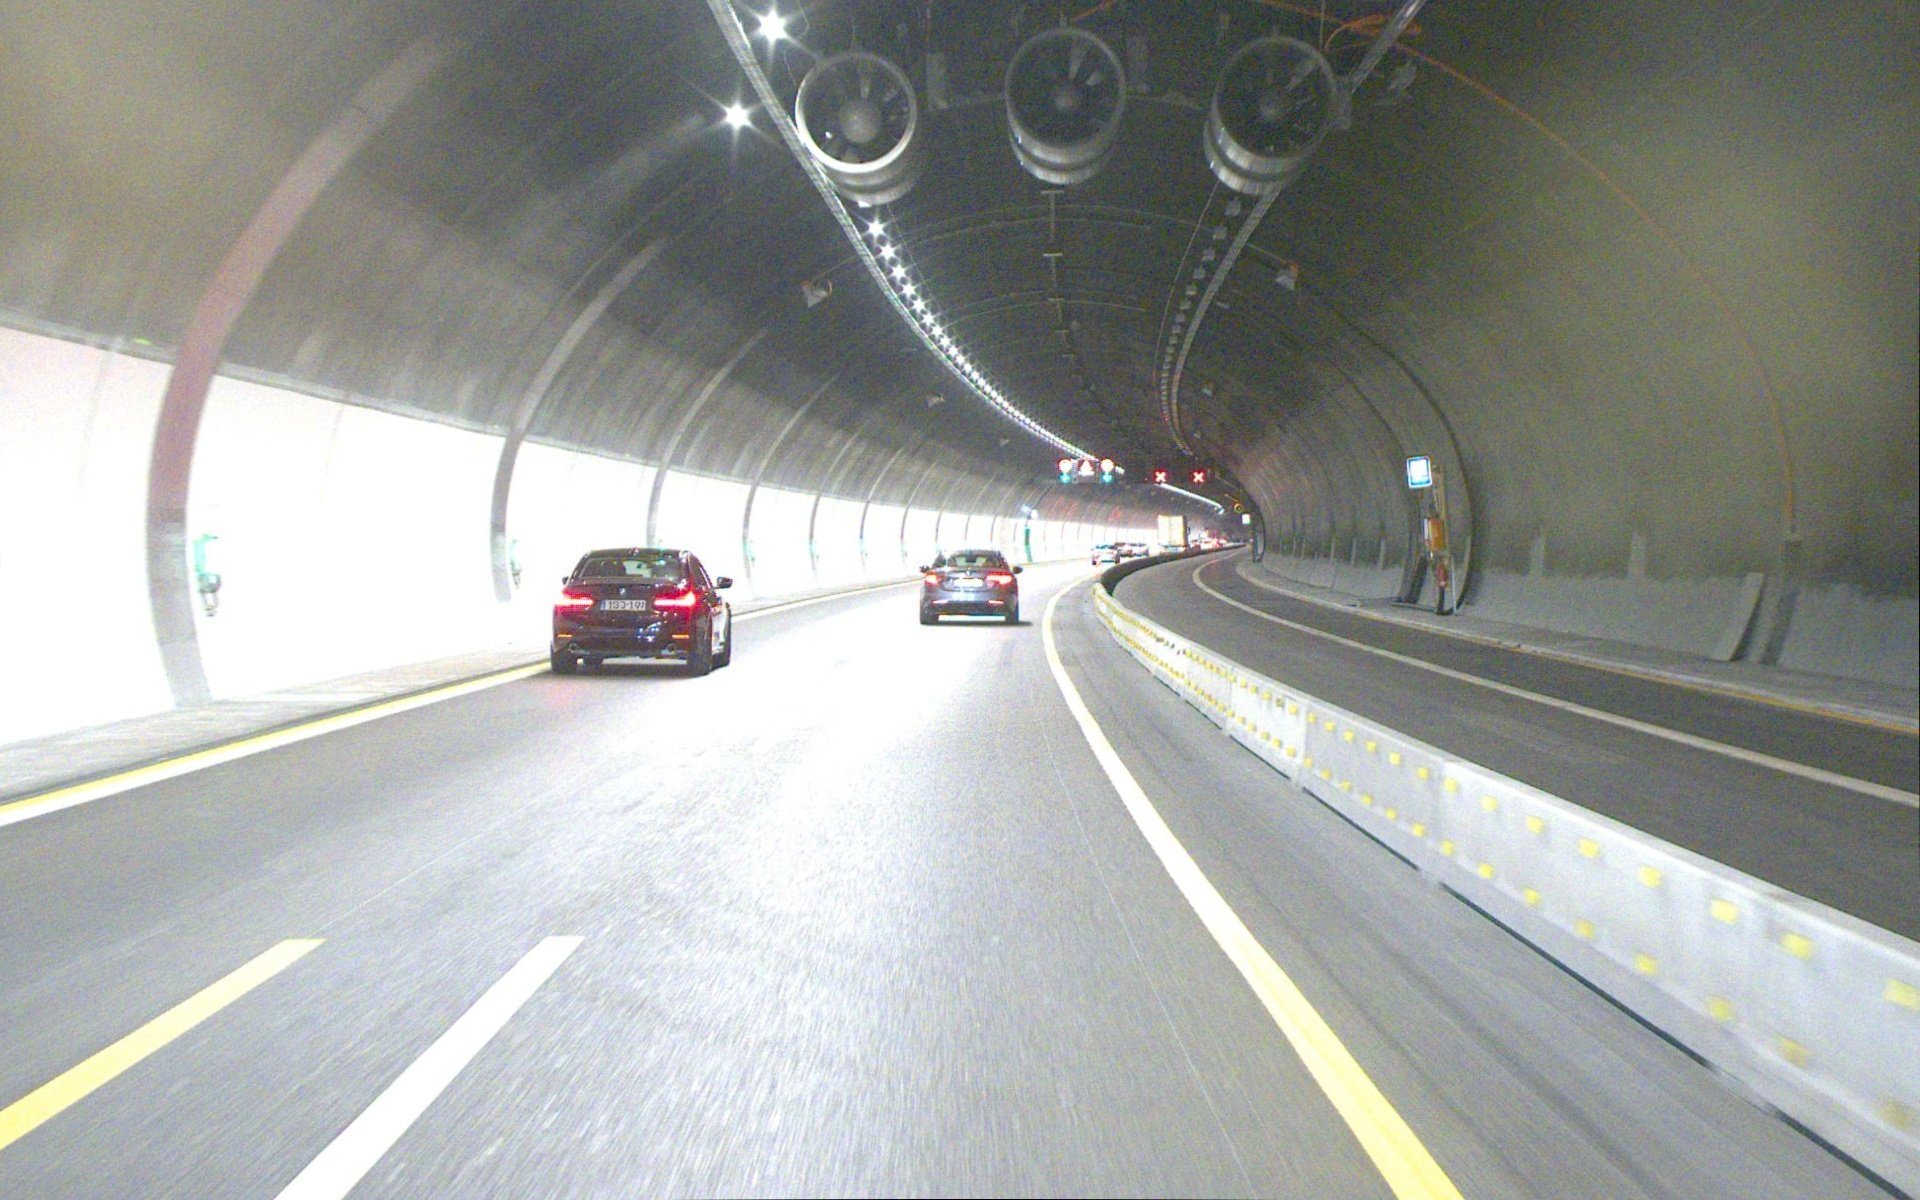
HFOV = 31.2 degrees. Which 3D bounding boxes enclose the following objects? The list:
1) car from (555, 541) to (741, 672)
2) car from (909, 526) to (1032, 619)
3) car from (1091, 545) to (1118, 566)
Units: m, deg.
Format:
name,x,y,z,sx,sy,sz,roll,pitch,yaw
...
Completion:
name,x,y,z,sx,sy,sz,roll,pitch,yaw
car,-3.637,0.031,40.781,1.778,1.433,4.883,1,1,0
car,0.232,-0.556,65.835,2.141,1.700,4.000,1,1,3
car,9.321,-2.887,222.025,1.595,1.328,3.750,1,1,4
